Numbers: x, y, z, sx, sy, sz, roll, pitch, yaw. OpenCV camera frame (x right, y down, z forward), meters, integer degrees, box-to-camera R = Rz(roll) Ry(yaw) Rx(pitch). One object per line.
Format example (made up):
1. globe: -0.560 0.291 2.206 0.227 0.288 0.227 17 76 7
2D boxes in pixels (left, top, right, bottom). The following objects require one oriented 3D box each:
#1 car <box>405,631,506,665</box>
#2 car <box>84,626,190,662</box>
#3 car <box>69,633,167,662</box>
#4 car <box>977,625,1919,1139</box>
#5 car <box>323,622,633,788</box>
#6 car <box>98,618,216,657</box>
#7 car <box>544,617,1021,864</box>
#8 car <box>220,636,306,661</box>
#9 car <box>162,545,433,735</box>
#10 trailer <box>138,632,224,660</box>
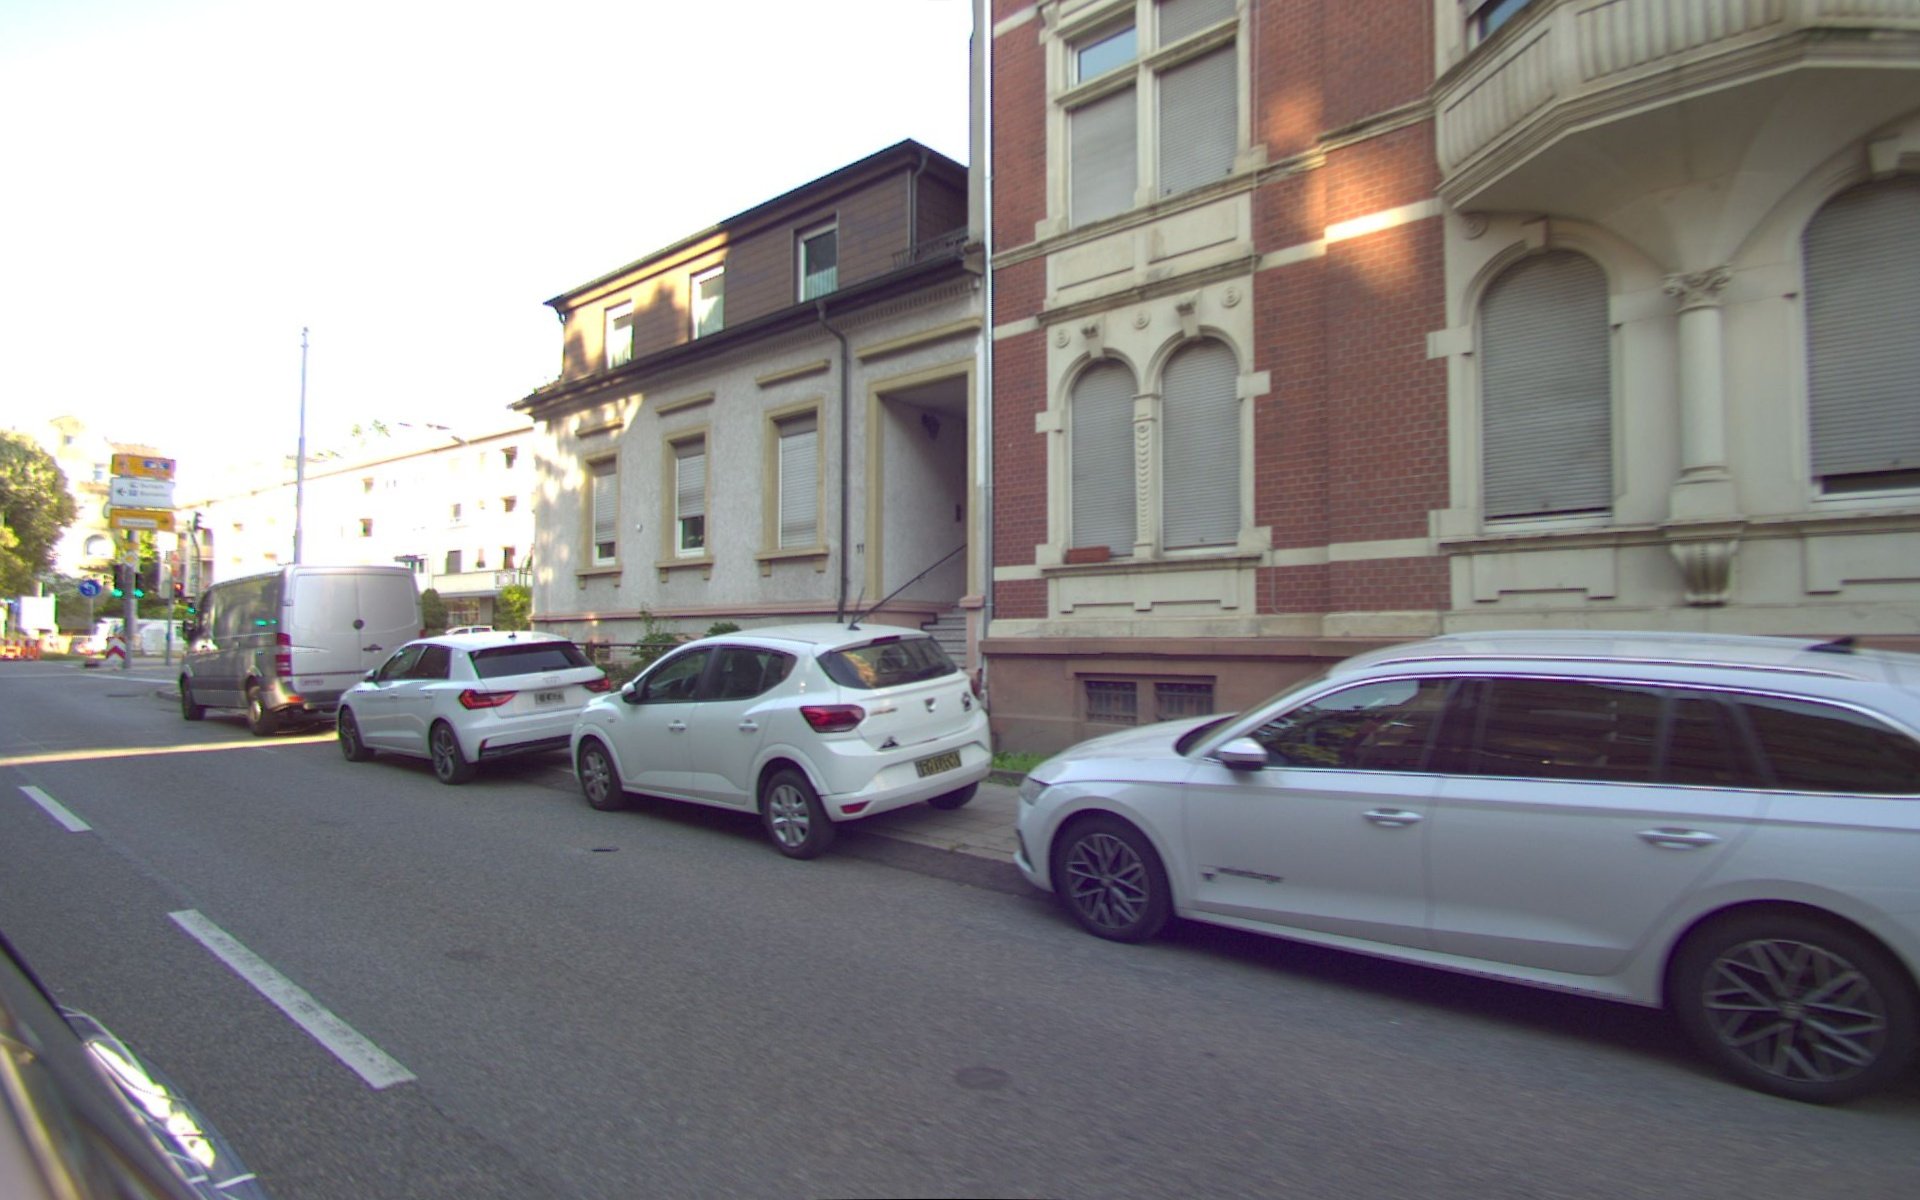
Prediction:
1. car: -25.546 2.412 51.317 4.258 1.623 2.004 0 -3 -39
2. car: -45.780 2.417 56.348 1.998 1.866 4.269 -3 -3 40
3. car: -47.833 2.673 57.560 1.996 1.490 3.955 -3 -1 36
4. car: 2.381 0.907 4.614 4.544 1.548 1.686 -2 -2 39
5. car: -5.412 1.022 11.175 3.820 1.514 1.685 -2 -2 40
6. car: -43.403 1.998 54.796 2.113 1.980 4.626 -3 -2 35
7. car: -1.611 0.925 8.205 4.019 1.514 1.684 -2 -2 42
8. car: -45.536 3.153 66.197 1.998 1.522 4.270 -3 -3 39
9. car: -10.602 0.604 15.960 6.011 2.479 2.046 -2 -2 41
10. trailer: -40.519 2.384 52.685 1.571 1.407 3.225 -3 -2 35
